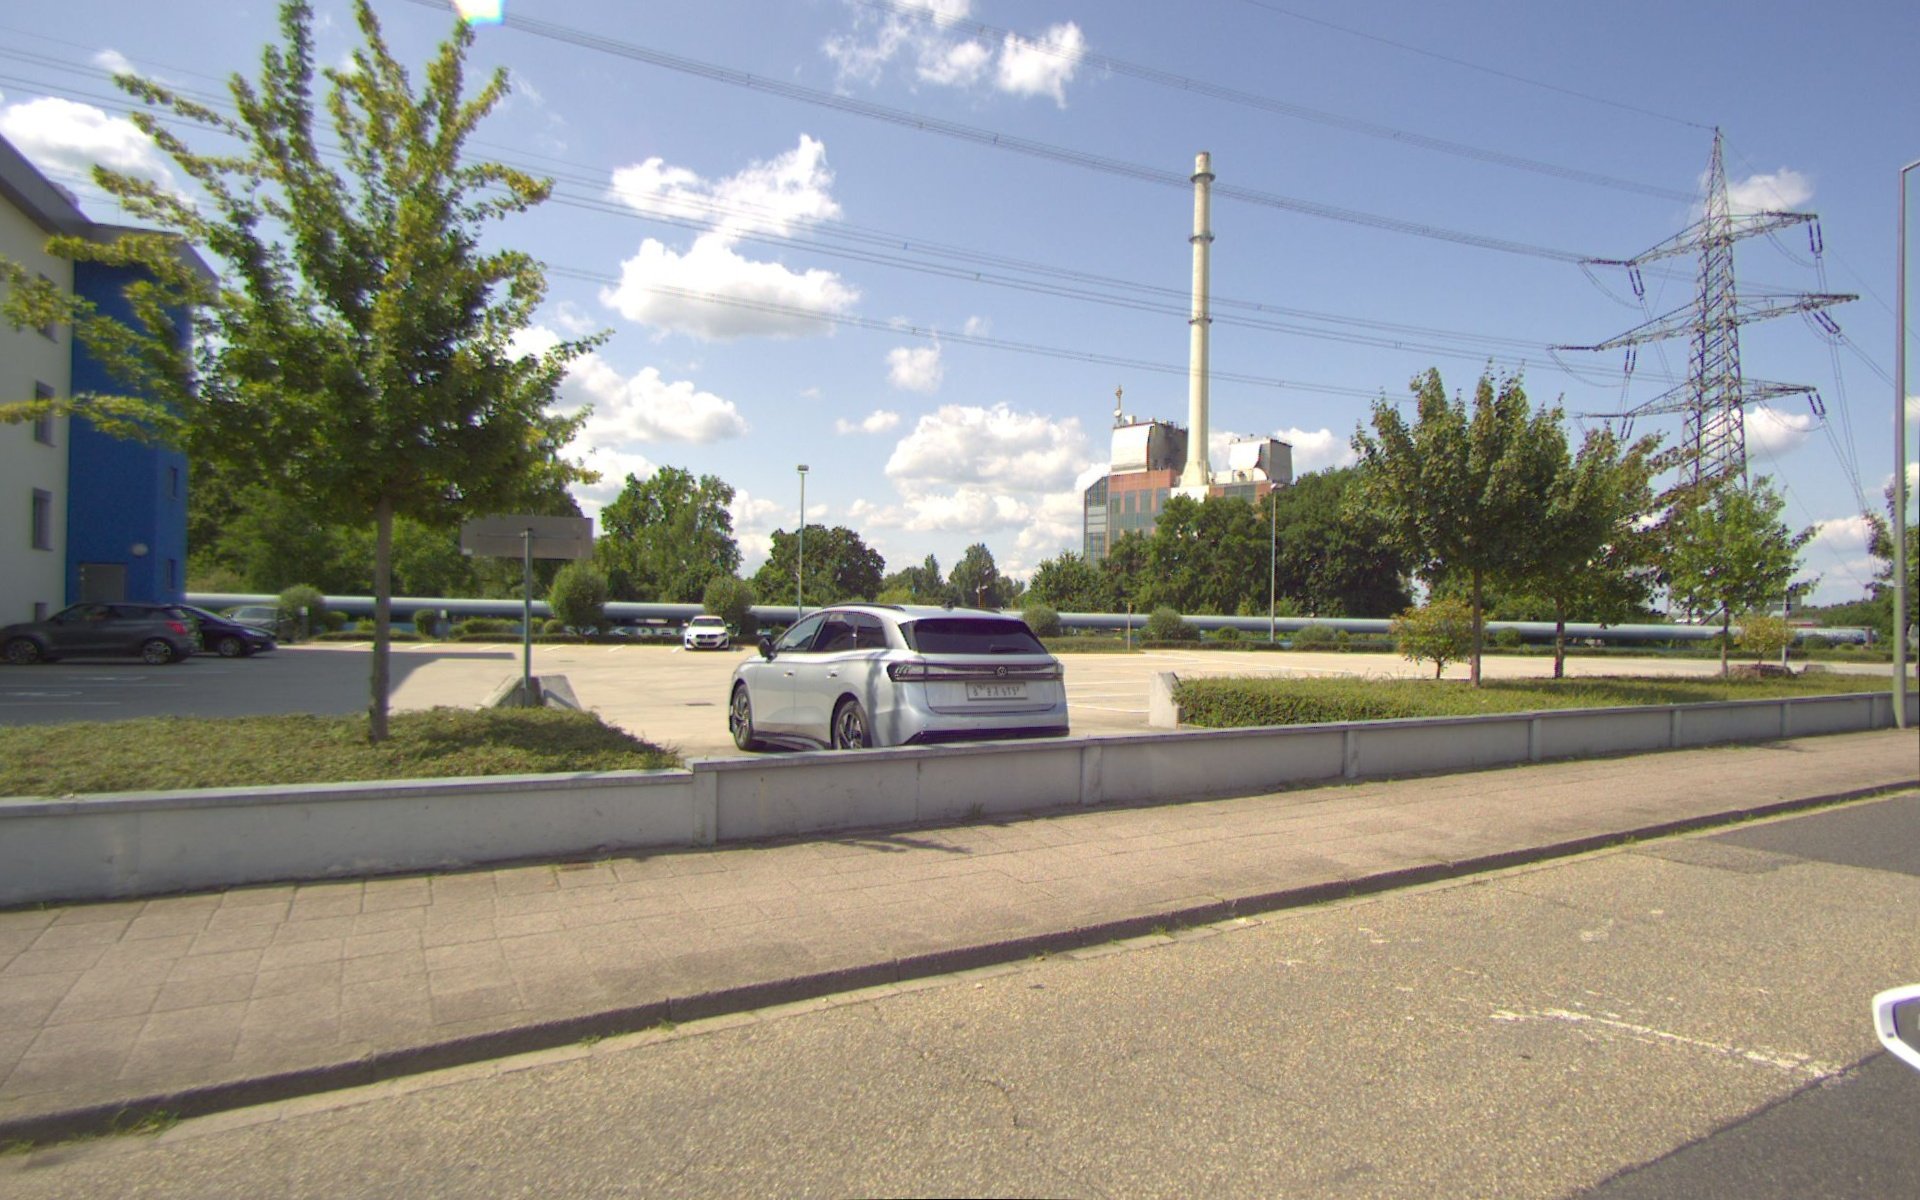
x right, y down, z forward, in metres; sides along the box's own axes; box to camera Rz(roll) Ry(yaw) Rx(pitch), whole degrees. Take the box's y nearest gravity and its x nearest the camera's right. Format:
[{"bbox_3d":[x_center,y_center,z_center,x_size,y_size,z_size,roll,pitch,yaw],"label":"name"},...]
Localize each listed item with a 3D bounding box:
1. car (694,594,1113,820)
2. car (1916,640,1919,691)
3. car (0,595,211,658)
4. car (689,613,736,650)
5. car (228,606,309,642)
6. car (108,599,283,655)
[{"bbox_3d":[-0.847,0.790,9.776,1.979,1.624,4.727,2,-1,-33],"label":"car"},{"bbox_3d":[28.285,1.824,26.613,1.782,1.394,3.969,2,-1,-29],"label":"car"},{"bbox_3d":[-20.206,0.633,23.815,3.632,1.394,1.557,2,-1,-26],"label":"car"},{"bbox_3d":[-10.736,1.324,43.368,1.774,1.493,3.813,1,-1,-16],"label":"car"},{"bbox_3d":[-26.696,0.917,38.896,1.777,1.268,3.592,2,-1,-21],"label":"car"},{"bbox_3d":[-21.577,0.770,28.523,3.633,1.394,1.557,4,-2,-26],"label":"car"}]
